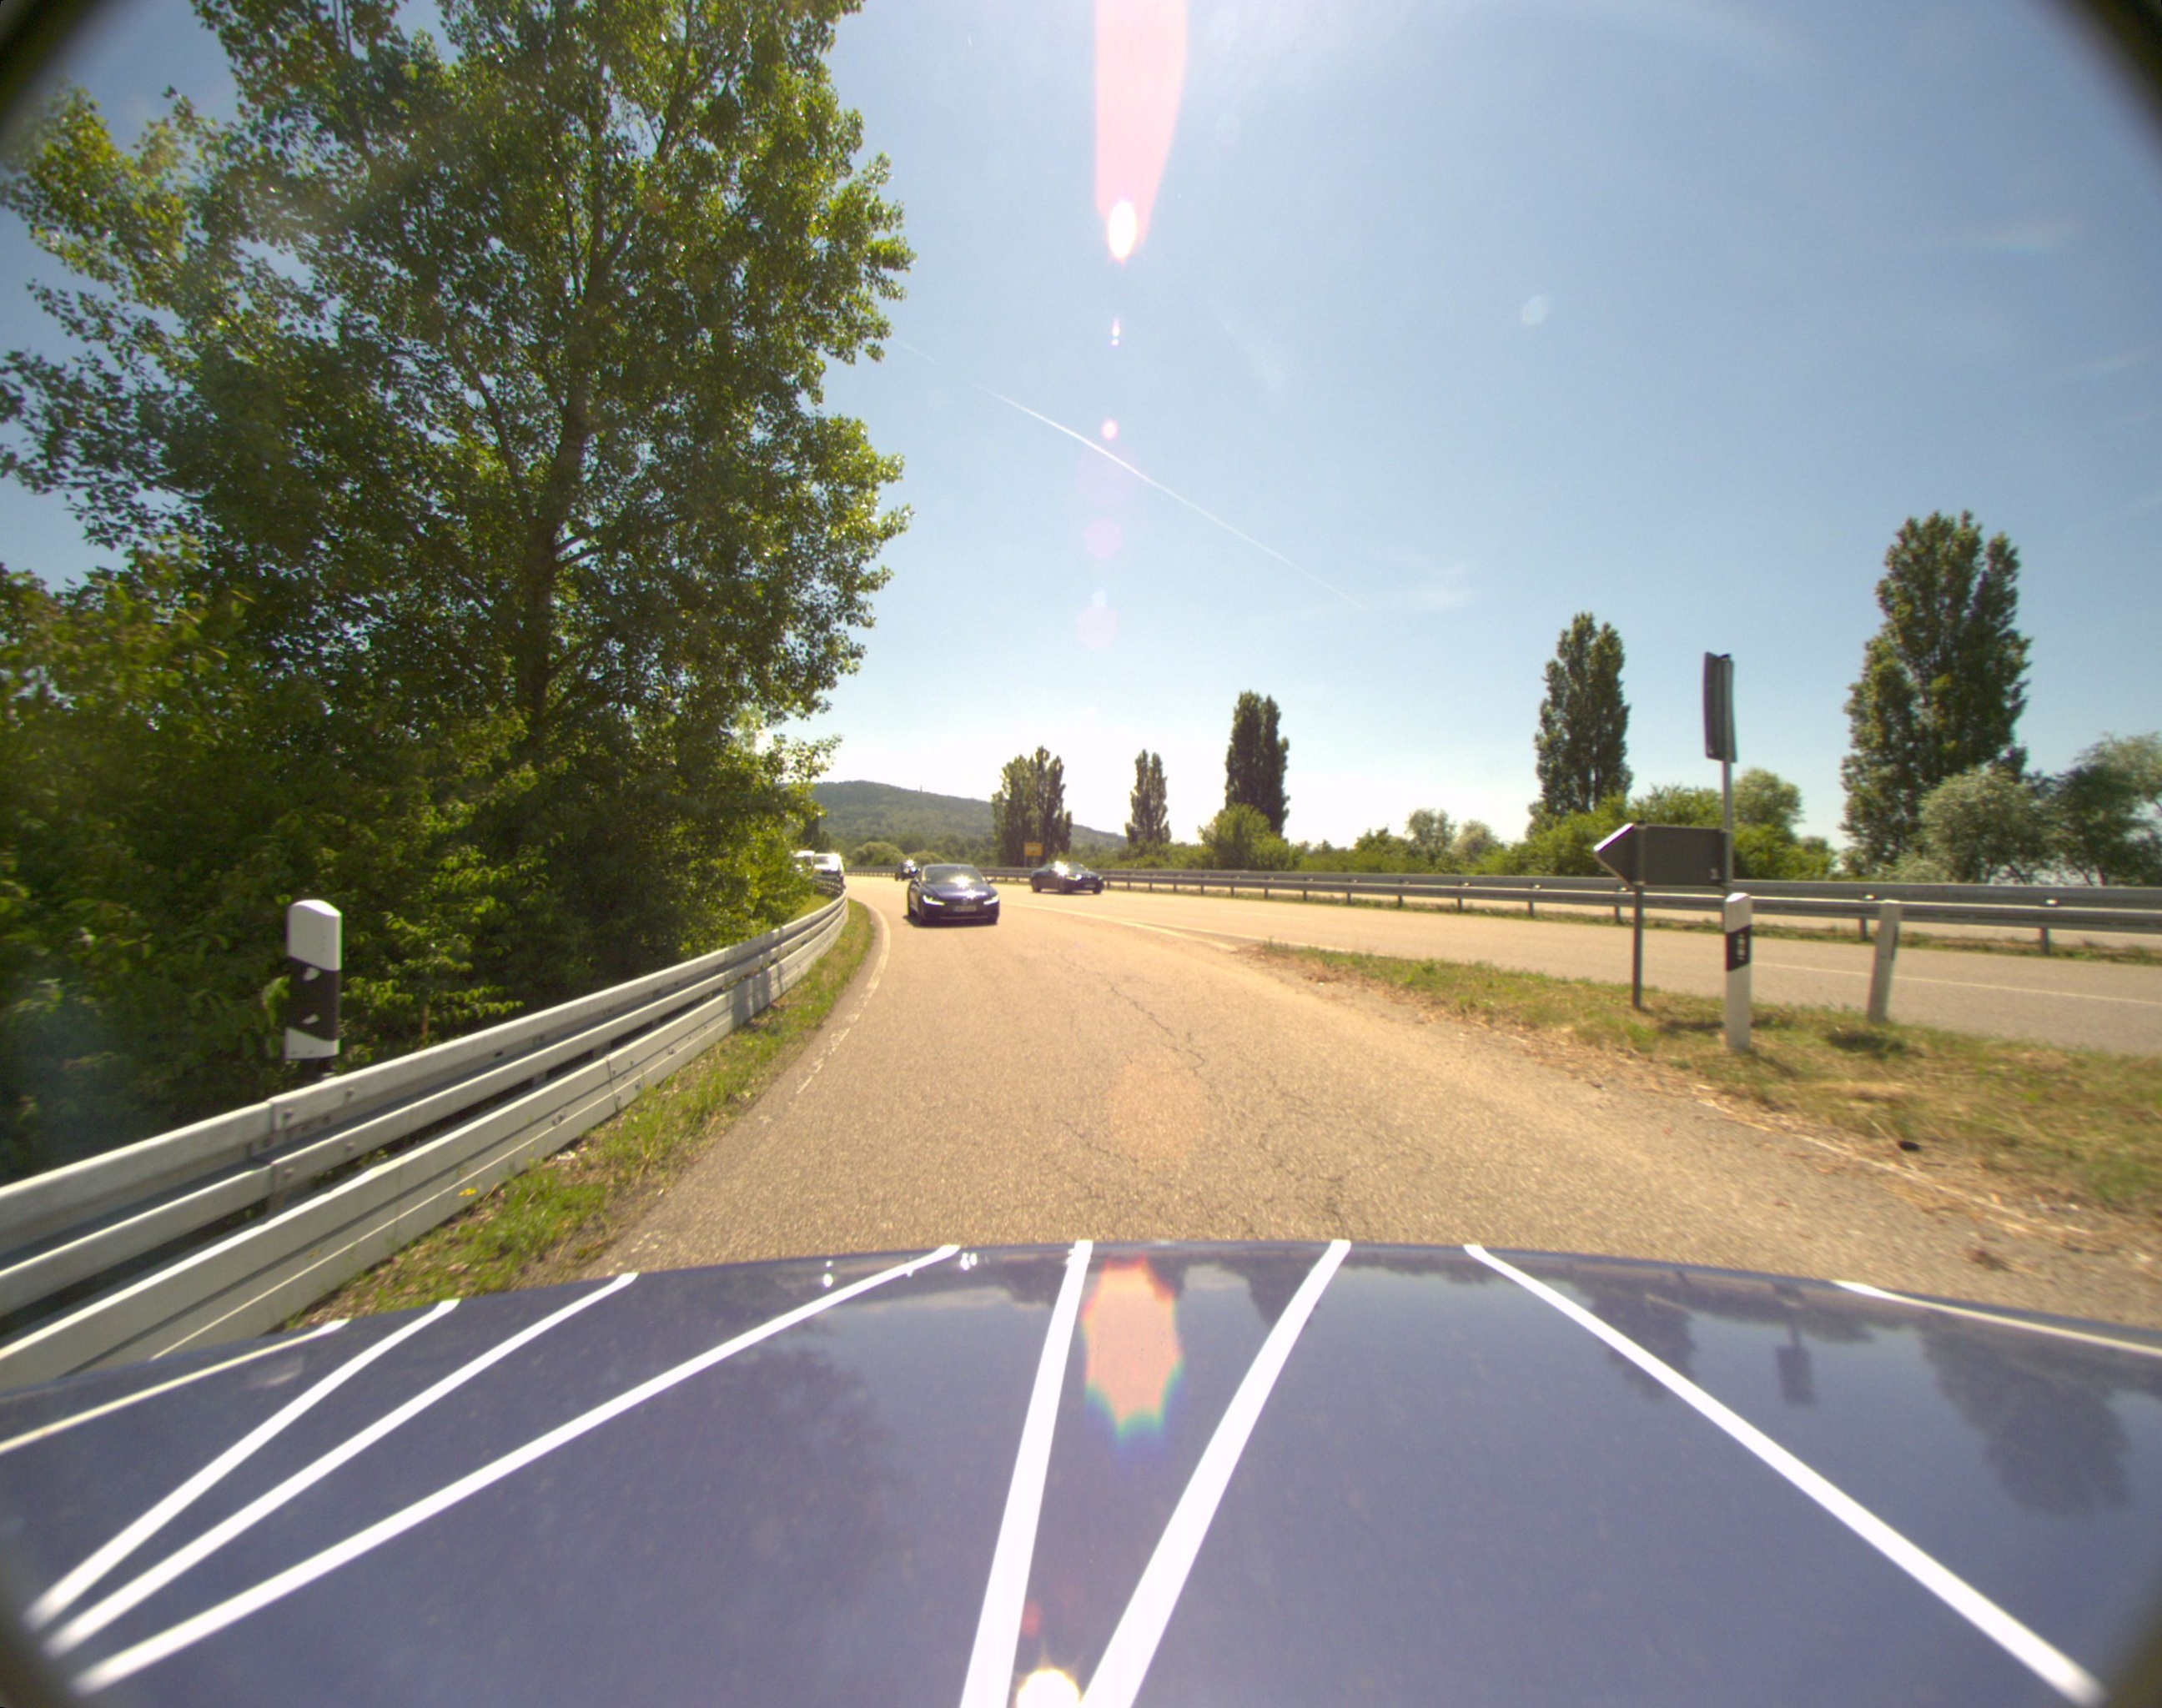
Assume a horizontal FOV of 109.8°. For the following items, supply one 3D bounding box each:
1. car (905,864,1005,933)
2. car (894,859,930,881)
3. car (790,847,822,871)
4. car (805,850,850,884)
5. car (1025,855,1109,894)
[{"bbox_3d":[-3.305,1.009,19.230,1.845,1.422,4.527,-2,0,-17],"label":"car"},{"bbox_3d":[-13.257,1.266,59.476,1.834,1.602,3.992,-2,0,-26],"label":"car"},{"bbox_3d":[-23.143,0.401,63.873,2.003,1.939,4.634,-1,0,-26],"label":"car"},{"bbox_3d":[-15.864,0.770,47.379,2.003,1.939,4.634,-1,0,-26],"label":"car"},{"bbox_3d":[-0.729,0.870,34.186,2.003,1.564,4.634,-1,0,-26],"label":"car"}]
